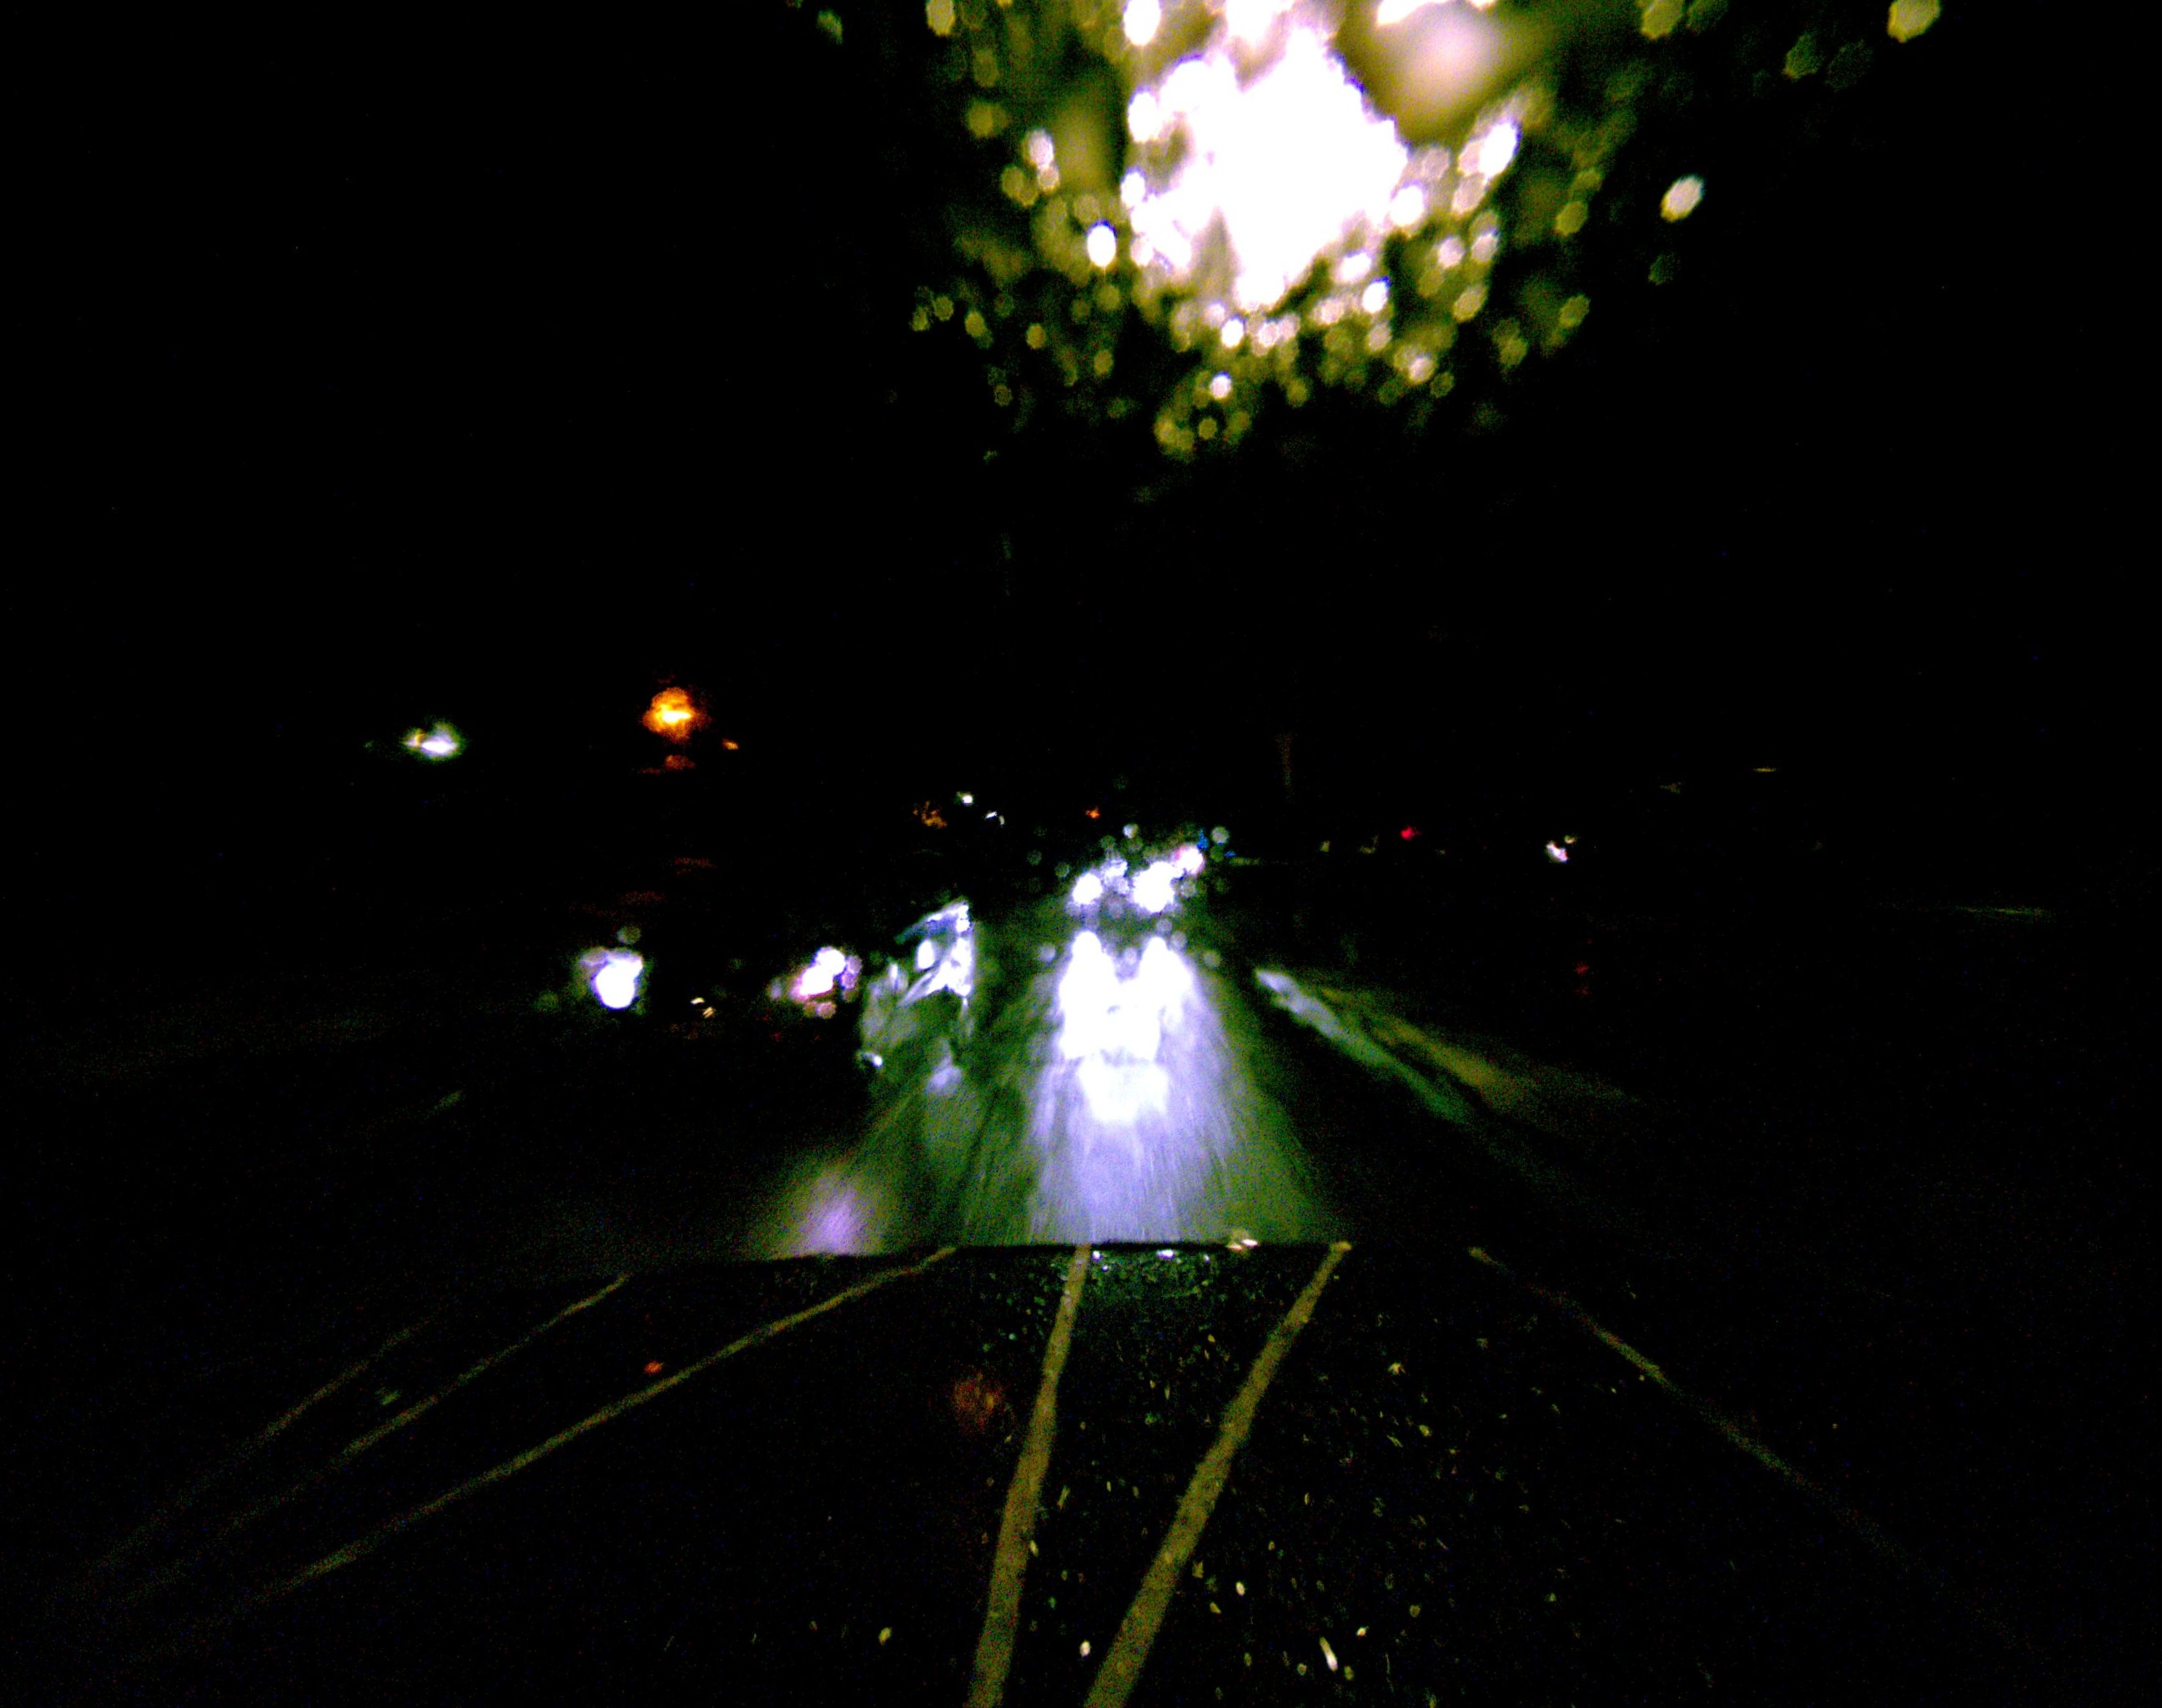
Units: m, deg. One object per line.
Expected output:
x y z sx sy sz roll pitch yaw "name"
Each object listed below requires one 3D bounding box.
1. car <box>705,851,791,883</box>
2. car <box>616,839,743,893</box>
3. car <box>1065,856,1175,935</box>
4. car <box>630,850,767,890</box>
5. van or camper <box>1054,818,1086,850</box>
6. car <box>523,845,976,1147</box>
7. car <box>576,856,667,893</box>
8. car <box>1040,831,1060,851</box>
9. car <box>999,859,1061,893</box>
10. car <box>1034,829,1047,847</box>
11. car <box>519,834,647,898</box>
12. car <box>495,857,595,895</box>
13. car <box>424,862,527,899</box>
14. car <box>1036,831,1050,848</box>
-15.977 0.627 36.403 3.937 1.478 1.768 -2 0 31 "car"
-11.989 0.370 22.549 4.329 1.451 1.855 -2 0 41 "car"
1.043 0.857 17.502 1.824 1.573 4.358 -1 0 12 "car"
-15.287 0.603 30.666 1.722 1.474 4.716 -1 0 31 "car"
-1.093 -1.829 72.622 2.415 2.776 5.769 -1 0 -7 "van or camper"
-2.282 0.848 6.911 1.839 1.725 4.942 -1 0 1 "car"
-19.252 0.850 31.785 3.989 1.422 1.848 -2 0 37 "car"
-3.282 -1.339 79.963 1.999 2.002 3.999 -1 0 -4 "car"
-2.222 0.954 34.169 1.788 1.433 4.242 0 -1 11 "car"
-6.514 -2.540 123.097 1.935 2.758 4.254 -1 0 -4 "car"
-13.440 0.325 20.431 3.877 1.564 1.837 -2 0 41 "car"
-21.274 0.876 30.115 3.989 1.375 1.732 -2 0 31 "car"
-22.585 0.971 28.314 3.989 1.277 1.663 -2 0 31 "car"
-5.863 -2.208 117.453 1.935 2.406 4.254 -1 0 -4 "car"
